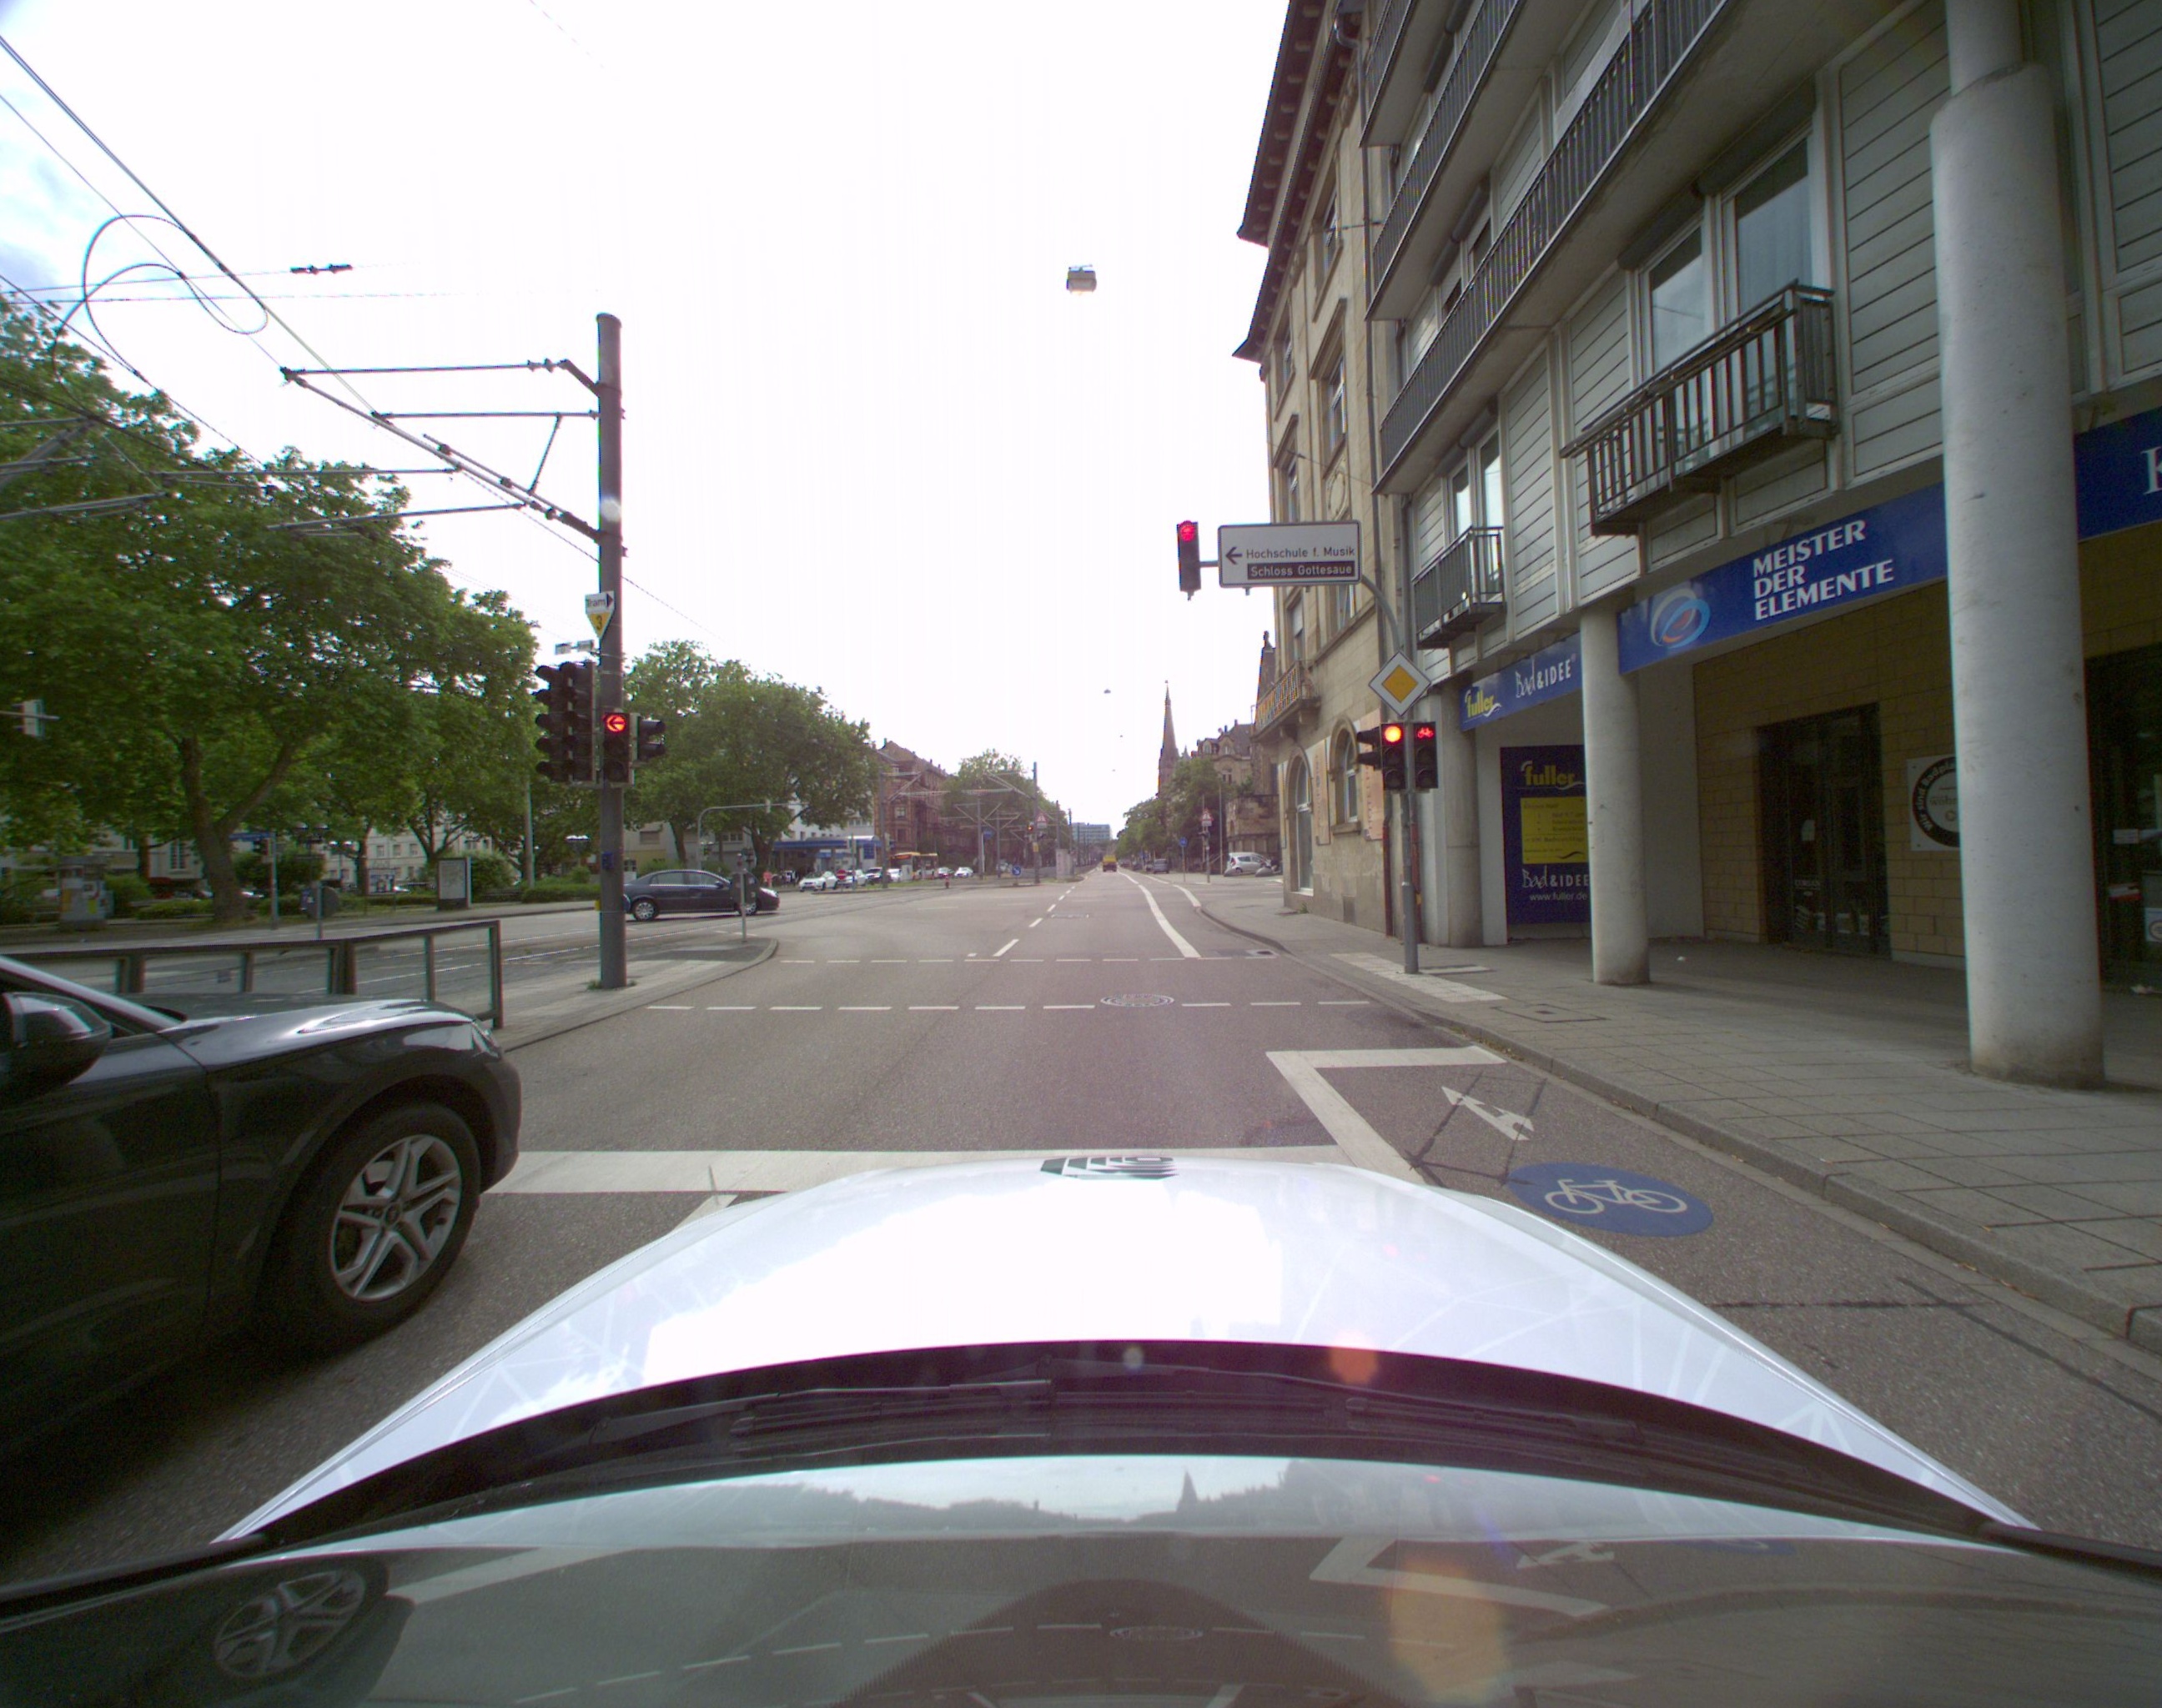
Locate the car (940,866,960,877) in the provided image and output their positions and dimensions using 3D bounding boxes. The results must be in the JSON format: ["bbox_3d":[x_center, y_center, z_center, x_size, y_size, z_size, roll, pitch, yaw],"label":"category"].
[{"bbox_3d":[-16.519,2.200,102.837,1.649,1.321,3.641,0,-1,3],"label":"car"}]

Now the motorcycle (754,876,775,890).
[{"bbox_3d":[-21.642,1.967,55.702,0.604,0.928,1.953,-2,-1,2],"label":"motorcycle"}]

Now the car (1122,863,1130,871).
[{"bbox_3d":[11.920,3.372,216.773,1.986,2.014,4.001,0,-1,2],"label":"car"}]

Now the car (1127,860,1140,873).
[{"bbox_3d":[8.693,2.053,135.965,1.986,2.014,4.001,0,-1,2],"label":"car"}]

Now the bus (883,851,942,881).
[{"bbox_3d":[-18.297,1.308,89.705,3.217,3.035,12.323,0,0,4],"label":"bus"}]

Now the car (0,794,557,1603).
[{"bbox_3d":[-3.069,0.700,1.216,1.727,1.637,4.228,0,-1,2],"label":"car"}]

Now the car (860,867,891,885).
[{"bbox_3d":[-18.327,1.938,72.707,1.649,1.478,3.641,0,-1,3],"label":"car"}]

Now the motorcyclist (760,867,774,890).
[{"bbox_3d":[-21.602,1.663,56.037,0.617,1.520,0.874,-2,-1,2],"label":"motorcyclist"}]

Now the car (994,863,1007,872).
[{"bbox_3d":[-14.788,2.454,149.888,1.986,1.610,4.001,0,-1,2],"label":"car"}]

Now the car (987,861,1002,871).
[{"bbox_3d":[-15.047,2.072,142.079,1.986,1.610,4.001,0,-1,2],"label":"car"}]

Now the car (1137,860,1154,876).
[{"bbox_3d":[7.894,1.698,99.590,1.985,2.014,4.004,0,-1,4],"label":"car"}]

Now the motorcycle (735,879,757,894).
[{"bbox_3d":[-22.670,2.188,55.146,0.604,0.928,1.953,-2,-1,2],"label":"motorcycle"}]

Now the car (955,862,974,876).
[{"bbox_3d":[-16.584,2.115,115.777,1.986,2.014,4.001,0,-1,2],"label":"car"}]

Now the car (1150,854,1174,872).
[{"bbox_3d":[8.976,0.987,89.938,1.979,1.855,4.042,-1,-1,14],"label":"car"}]

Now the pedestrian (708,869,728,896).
[{"bbox_3d":[-23.892,1.869,53.556,0.863,1.713,0.881,-2,-1,39],"label":"pedestrian"}]

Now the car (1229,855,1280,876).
[{"bbox_3d":[13.750,0.903,64.736,3.699,1.563,2.001,0,-1,2],"label":"car"}]

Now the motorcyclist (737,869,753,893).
[{"bbox_3d":[-22.685,1.818,54.977,0.617,1.520,0.874,-2,-1,2],"label":"motorcyclist"}]

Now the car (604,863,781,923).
[{"bbox_3d":[-11.304,1.091,24.052,4.541,1.563,1.985,-1,0,-23],"label":"car"}]

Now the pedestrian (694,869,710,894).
[{"bbox_3d":[-26.180,1.874,56.287,0.680,1.690,0.743,0,-1,6],"label":"pedestrian"}]

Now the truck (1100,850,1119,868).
[{"bbox_3d":[4.865,0.876,137.631,3.043,2.769,9.822,-2,0,3],"label":"truck"}]

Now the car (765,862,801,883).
[{"bbox_3d":[-29.827,1.816,81.746,1.986,2.014,4.001,-2,-1,2],"label":"car"}]

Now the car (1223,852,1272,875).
[{"bbox_3d":[13.929,0.786,68.224,3.699,1.855,2.001,0,-1,2],"label":"car"}]

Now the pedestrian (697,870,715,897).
[{"bbox_3d":[-24.366,1.936,52.887,0.858,1.713,0.695,-2,-1,40],"label":"pedestrian"}]

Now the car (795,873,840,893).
[{"bbox_3d":[-19.196,2.086,59.566,1.739,1.321,4.079,0,0,4],"label":"car"}]

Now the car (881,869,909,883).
[{"bbox_3d":[-18.155,2.109,79.628,1.649,1.321,3.641,0,-1,3],"label":"car"}]

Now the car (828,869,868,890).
[{"bbox_3d":[-18.842,2.065,66.063,1.986,1.594,4.001,0,-1,2],"label":"car"}]
